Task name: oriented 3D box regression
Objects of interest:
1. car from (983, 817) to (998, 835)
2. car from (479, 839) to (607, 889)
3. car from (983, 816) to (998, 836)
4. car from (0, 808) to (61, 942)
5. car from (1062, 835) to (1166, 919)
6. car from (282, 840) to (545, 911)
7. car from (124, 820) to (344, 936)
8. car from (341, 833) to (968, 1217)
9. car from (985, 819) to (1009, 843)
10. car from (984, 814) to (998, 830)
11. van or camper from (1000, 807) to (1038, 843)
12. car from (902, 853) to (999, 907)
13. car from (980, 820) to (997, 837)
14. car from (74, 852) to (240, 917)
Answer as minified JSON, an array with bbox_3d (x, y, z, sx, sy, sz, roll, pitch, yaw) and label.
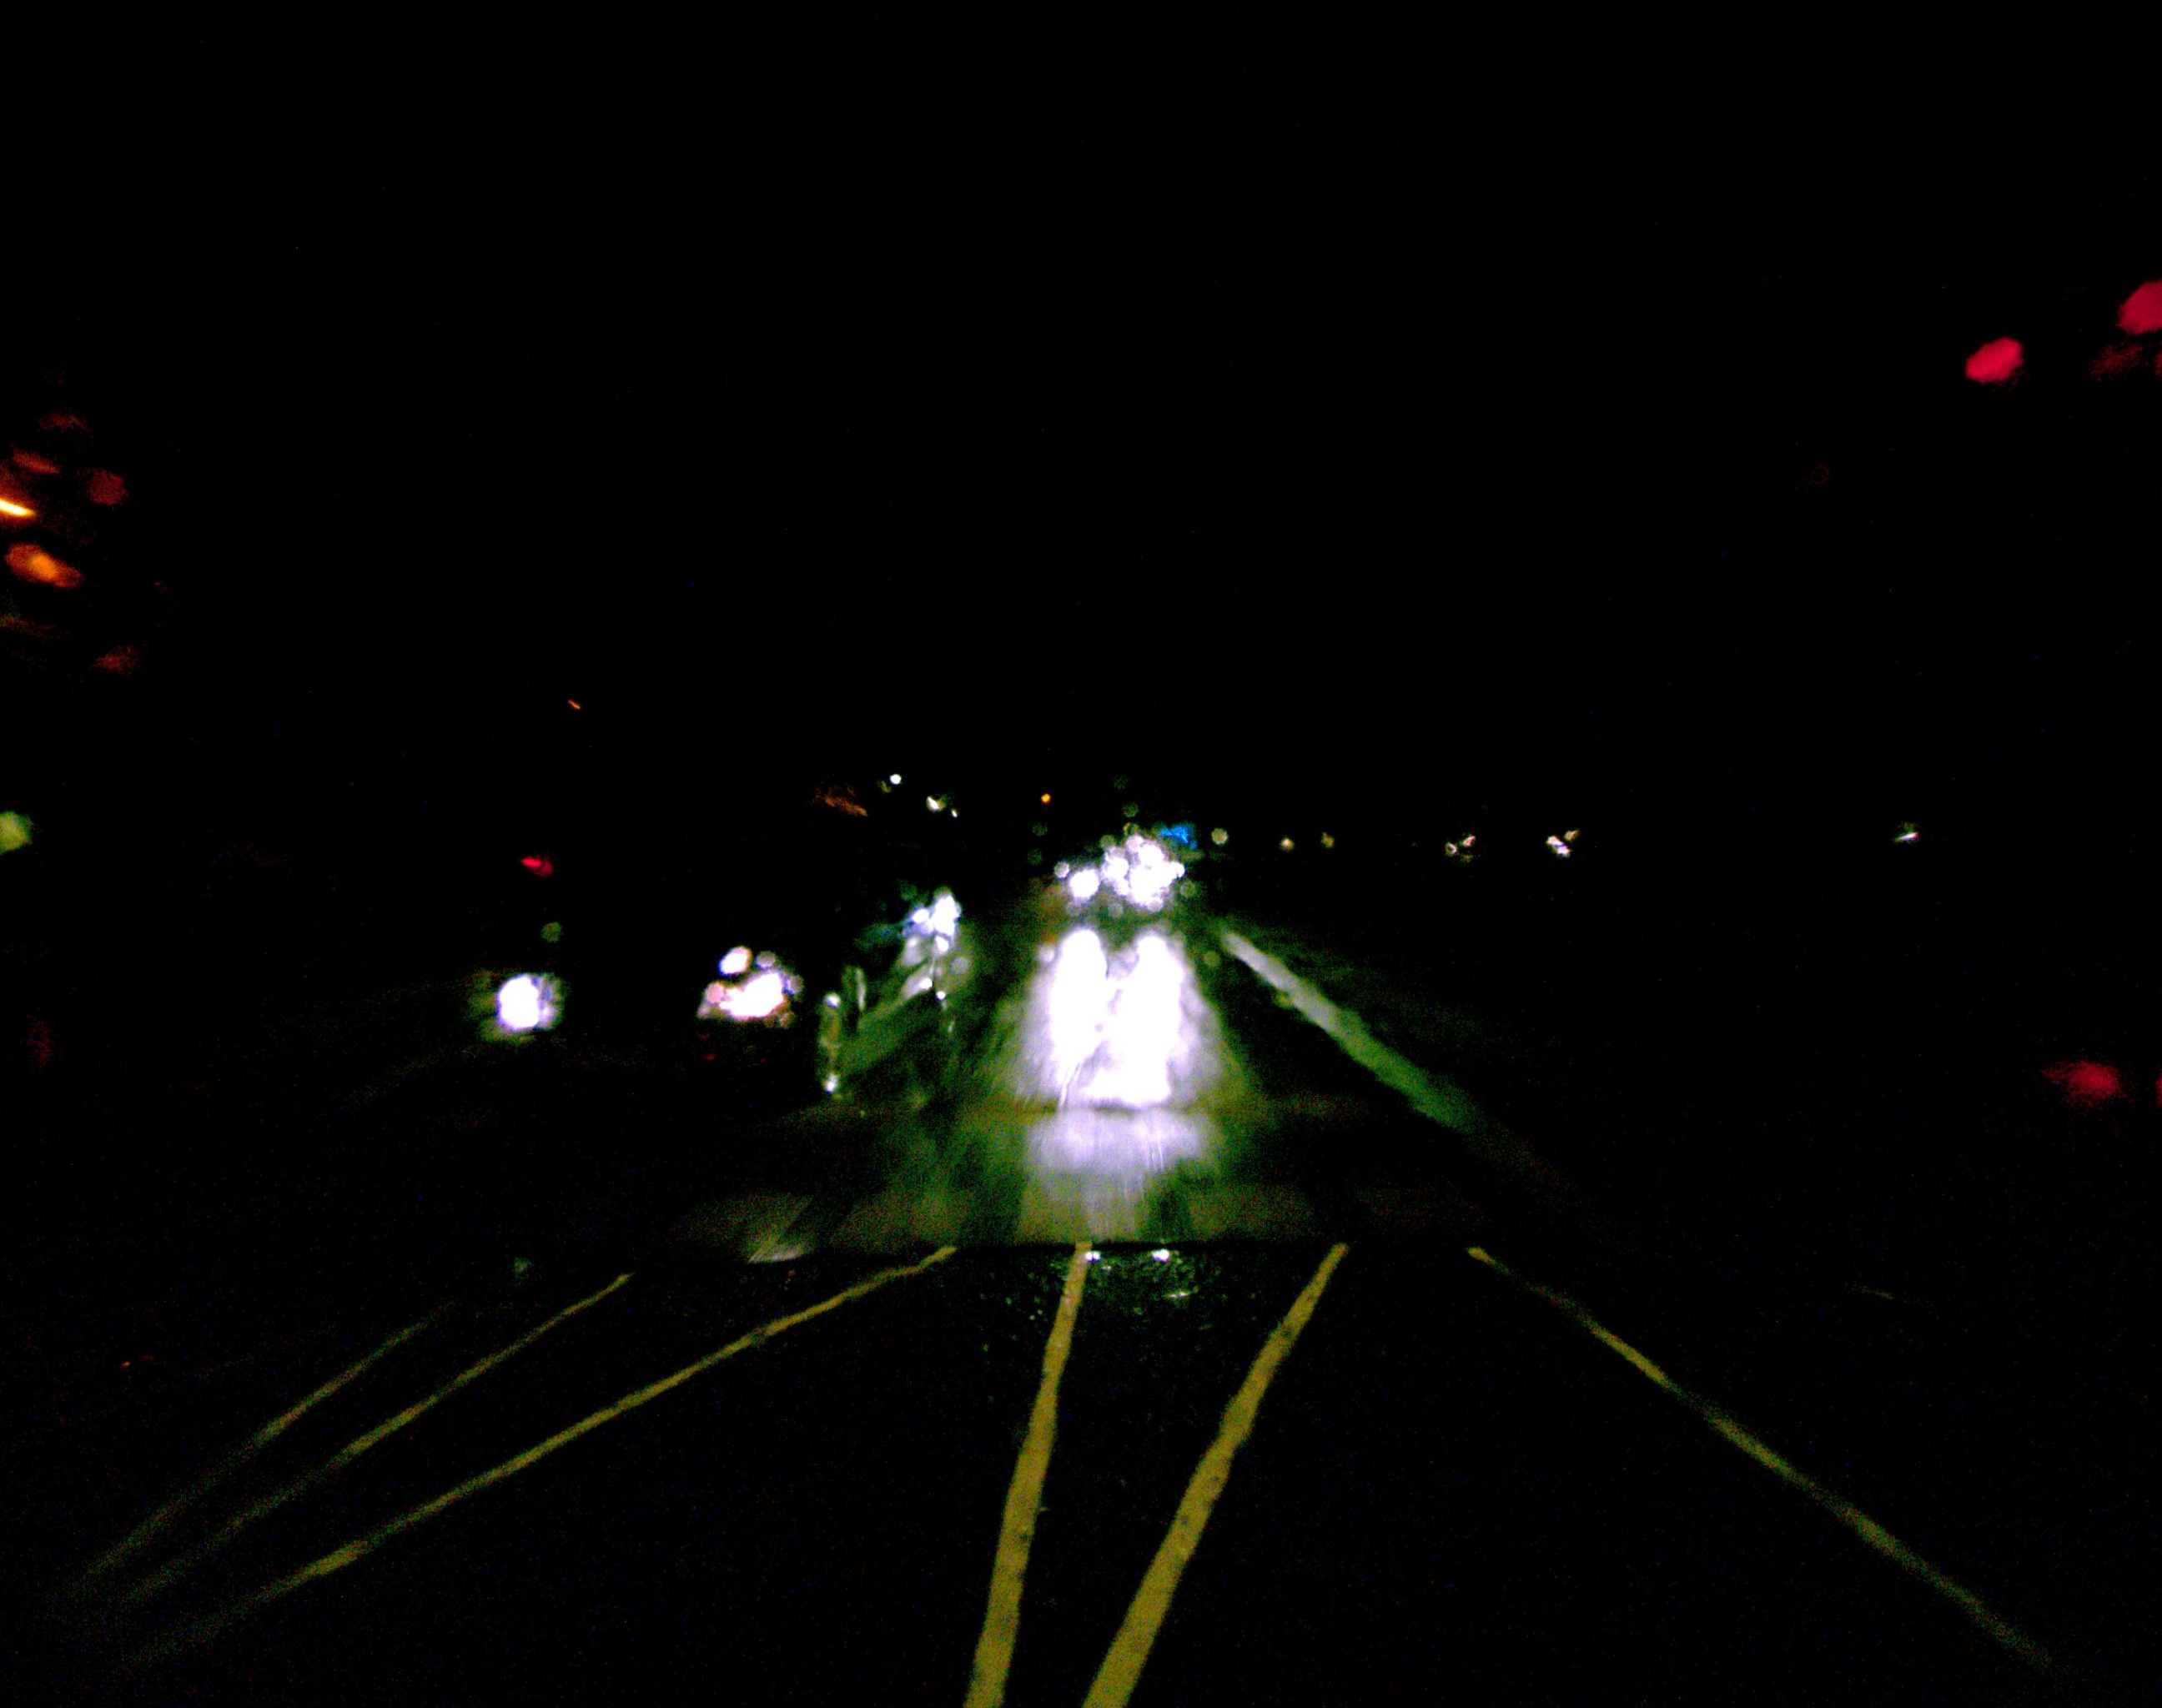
[{"bbox_3d":[-12.753,-3.875,106.645,1.936,2.407,4.251,-3,2,-8],"label":"car"},{"bbox_3d":[-17.798,0.340,25.113,3.937,1.479,1.767,-1,2,28],"label":"car"},{"bbox_3d":[-13.390,-4.136,112.158,1.936,2.759,4.251,-3,2,-8],"label":"car"},{"bbox_3d":[-14.492,0.302,9.559,3.877,1.565,1.837,-1,2,38],"label":"car"},{"bbox_3d":[0.888,0.422,17.342,1.825,1.573,4.356,-2,2,9],"label":"car"},{"bbox_3d":[-16.914,0.465,19.602,1.722,1.475,4.713,-1,2,28],"label":"car"},{"bbox_3d":[-13.083,0.304,11.666,4.329,1.452,1.855,-1,2,38],"label":"car"},{"bbox_3d":[-2.356,0.749,5.997,1.839,1.726,4.941,-2,2,3],"label":"car"},{"bbox_3d":[-7.768,-2.109,69.768,2.000,2.002,3.996,-3,2,-8],"label":"car"},{"bbox_3d":[-11.964,-4.283,101.084,1.734,2.002,3.697,-3,2,-8],"label":"car"},{"bbox_3d":[-5.204,-2.382,63.054,2.415,2.777,5.766,-3,2,-10],"label":"van or camper"},{"bbox_3d":[-3.932,0.745,23.717,1.788,1.434,4.239,-1,1,7],"label":"car"},{"bbox_3d":[-11.604,-3.122,95.188,2.000,2.002,3.996,-3,2,-8],"label":"car"},{"bbox_3d":[-22.829,0.728,18.761,3.990,1.375,1.731,-1,2,28],"label":"car"}]
